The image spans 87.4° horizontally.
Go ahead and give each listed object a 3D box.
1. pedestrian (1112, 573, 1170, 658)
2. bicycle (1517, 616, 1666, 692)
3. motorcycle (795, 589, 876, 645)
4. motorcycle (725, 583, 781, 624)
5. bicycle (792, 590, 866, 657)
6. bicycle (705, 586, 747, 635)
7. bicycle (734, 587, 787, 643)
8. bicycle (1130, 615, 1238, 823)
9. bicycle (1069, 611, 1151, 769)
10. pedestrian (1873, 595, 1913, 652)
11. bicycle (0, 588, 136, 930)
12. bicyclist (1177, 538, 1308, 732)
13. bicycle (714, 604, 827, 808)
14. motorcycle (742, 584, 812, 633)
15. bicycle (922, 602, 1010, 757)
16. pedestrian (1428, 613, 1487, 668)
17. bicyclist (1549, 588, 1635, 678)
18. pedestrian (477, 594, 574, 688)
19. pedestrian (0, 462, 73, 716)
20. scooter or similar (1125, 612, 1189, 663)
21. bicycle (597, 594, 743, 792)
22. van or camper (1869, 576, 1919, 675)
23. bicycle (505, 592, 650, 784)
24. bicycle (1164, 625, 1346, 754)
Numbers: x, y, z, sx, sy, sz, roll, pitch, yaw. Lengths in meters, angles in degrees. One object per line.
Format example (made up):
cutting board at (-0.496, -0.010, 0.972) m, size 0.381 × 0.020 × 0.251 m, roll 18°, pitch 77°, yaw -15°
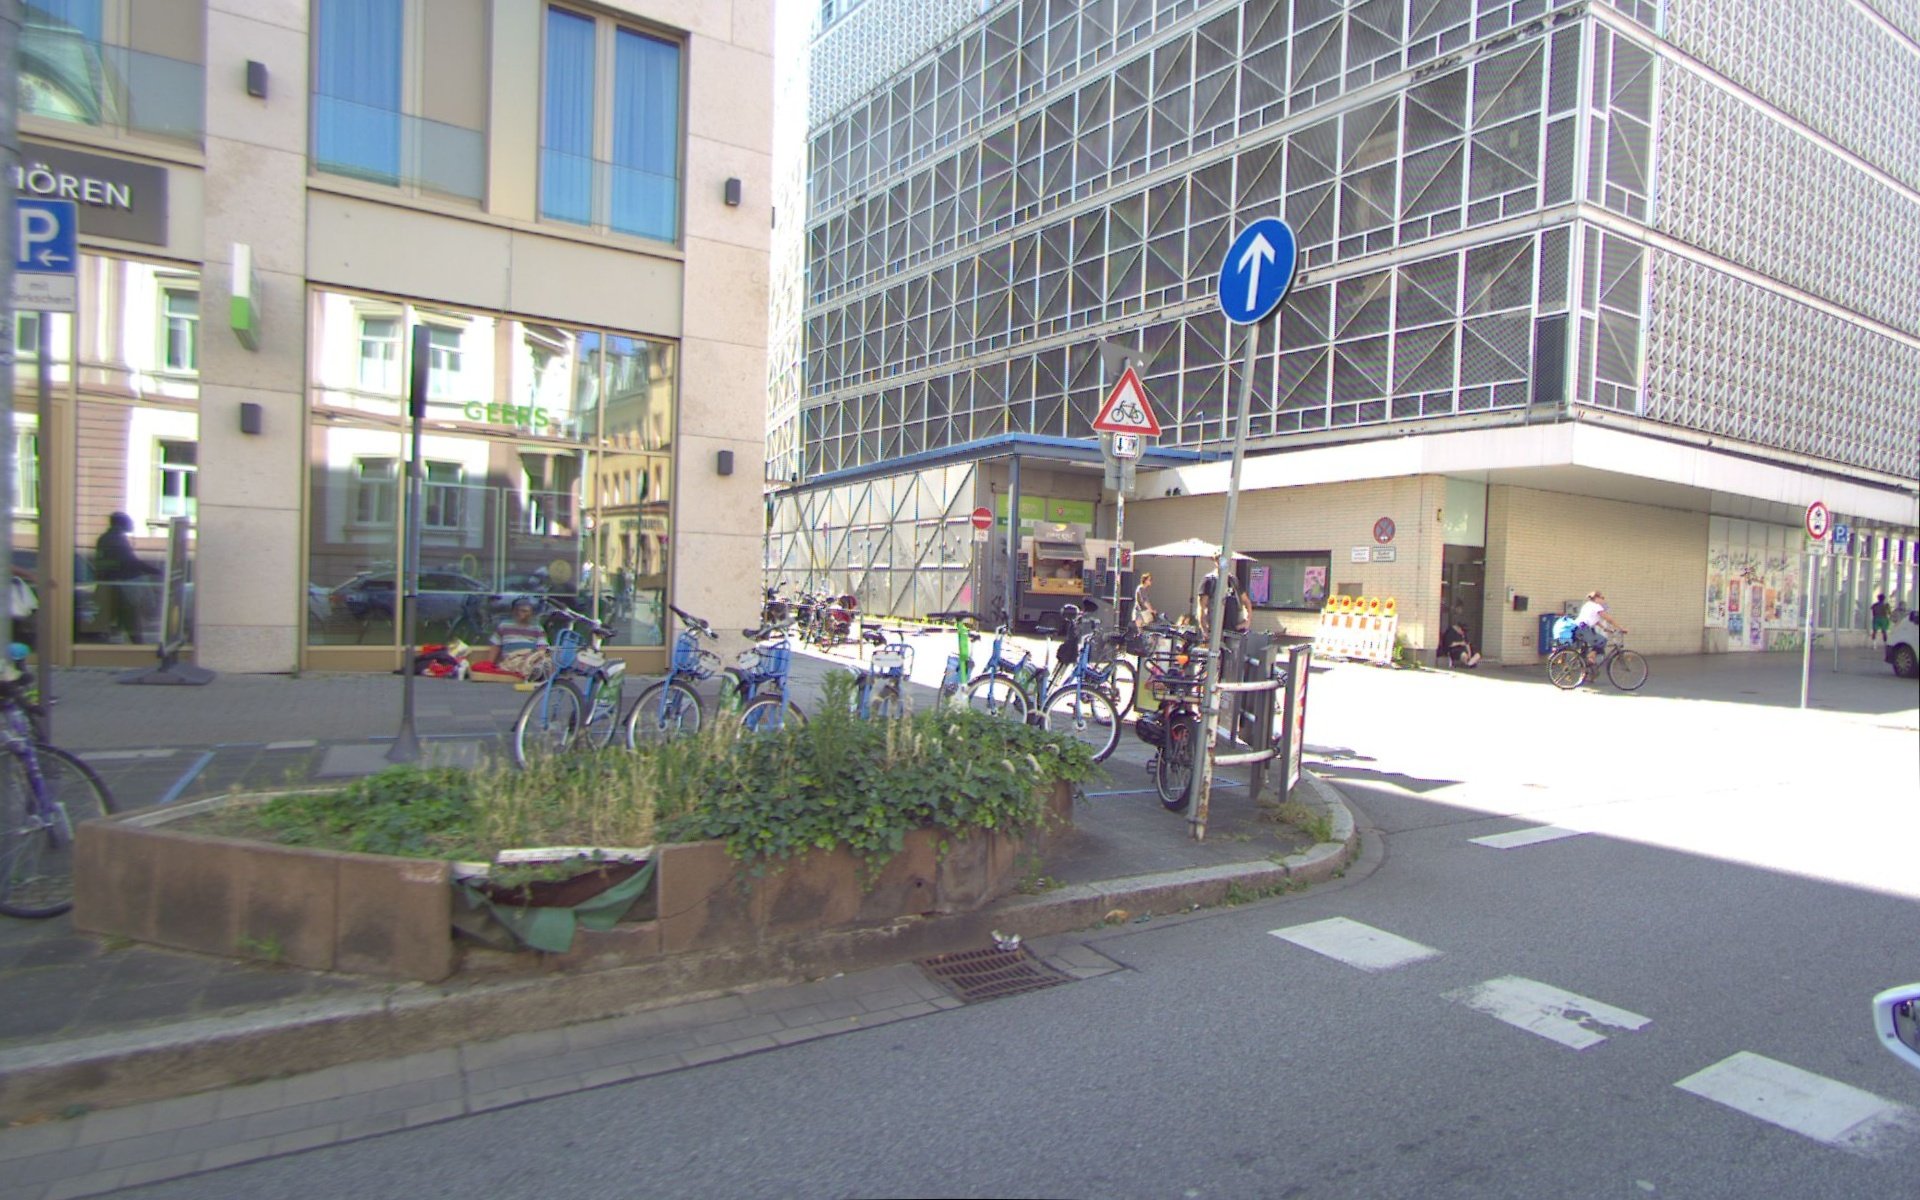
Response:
pedestrian at (3.747, 0.299, 20.792) m, size 0.832 × 1.681 × 0.836 m, roll 4°, pitch 3°, yaw 42°
bicycle at (11.204, 0.940, 17.860) m, size 2.167 × 1.284 × 0.736 m, roll 0°, pitch 1°, yaw 1°
motorcycle at (-2.807, 0.361, 22.845) m, size 0.646 × 1.189 × 2.058 m, roll 0°, pitch 1°, yaw 34°
motorcycle at (-5.917, 0.083, 28.787) m, size 0.593 × 1.081 × 2.064 m, roll 2°, pitch 2°, yaw 19°
bicycle at (-2.519, 0.418, 19.145) m, size 0.632 × 1.141 × 2.048 m, roll 5°, pitch -1°, yaw -29°
bicycle at (-5.805, 0.230, 24.844) m, size 0.449 × 1.142 × 2.048 m, roll 0°, pitch 1°, yaw -29°
bicycle at (-4.537, 0.321, 22.701) m, size 0.450 × 1.141 × 2.047 m, roll 4°, pitch 0°, yaw -31°
bicycle at (1.657, 0.747, 7.204) m, size 0.593 × 1.189 × 2.065 m, roll 3°, pitch 2°, yaw 15°
bicycle at (1.295, 0.711, 8.833) m, size 0.593 × 1.184 × 2.065 m, roll 2°, pitch 0°, yaw 7°
pedestrian at (26.627, 0.658, 28.665) m, size 0.634 × 1.580 × 0.674 m, roll 1°, pitch 1°, yaw -34°
bicycle at (-3.992, 0.573, 4.134) m, size 0.478 × 1.142 × 2.131 m, roll 0°, pitch 3°, yaw -27°
bicyclist at (3.044, 0.363, 10.864) m, size 1.003 × 1.986 × 0.839 m, roll 1°, pitch 1°, yaw -24°
bicycle at (-1.303, 0.660, 7.198) m, size 0.551 × 1.142 × 2.062 m, roll 1°, pitch 3°, yaw -4°
motorcycle at (-4.585, 0.190, 25.311) m, size 0.642 × 1.189 × 2.062 m, roll 1°, pitch 2°, yaw 25°
bicycle at (0.011, 0.626, 8.834) m, size 0.634 × 1.142 × 2.063 m, roll 1°, pitch 1°, yaw -3°
pedestrian at (10.521, 0.842, 21.254) m, size 0.831 × 1.071 × 0.717 m, roll 1°, pitch 5°, yaw -31°
bicyclist at (11.214, 0.572, 17.856) m, size 1.055 × 1.560 × 0.736 m, roll 0°, pitch 1°, yaw 1°
pedestrian at (-4.804, 0.425, 11.072) m, size 0.832 × 0.938 × 1.243 m, roll 1°, pitch 1°, yaw -31°
pedestrian at (-7.538, -0.118, 7.777) m, size 0.834 × 1.904 × 0.834 m, roll 1°, pitch 5°, yaw -29°
scooter or similar at (4.030, 0.752, 20.541) m, size 0.958 × 0.977 × 0.898 m, roll 3°, pitch 2°, yaw 40°
bicycle at (-2.087, 0.588, 7.514) m, size 0.551 × 1.142 × 2.327 m, roll 2°, pitch 3°, yaw -4°
van or camper at (20.910, 0.612, 19.949) m, size 1.959 × 2.041 × 4.662 m, roll 2°, pitch 3°, yaw 10°
bicycle at (-2.728, 0.561, 7.344) m, size 0.475 × 1.142 × 1.865 m, roll 1°, pitch 3°, yaw -4°
bicycle at (3.056, 0.879, 10.657) m, size 0.787 × 1.142 × 1.982 m, roll 0°, pitch 1°, yaw -22°
